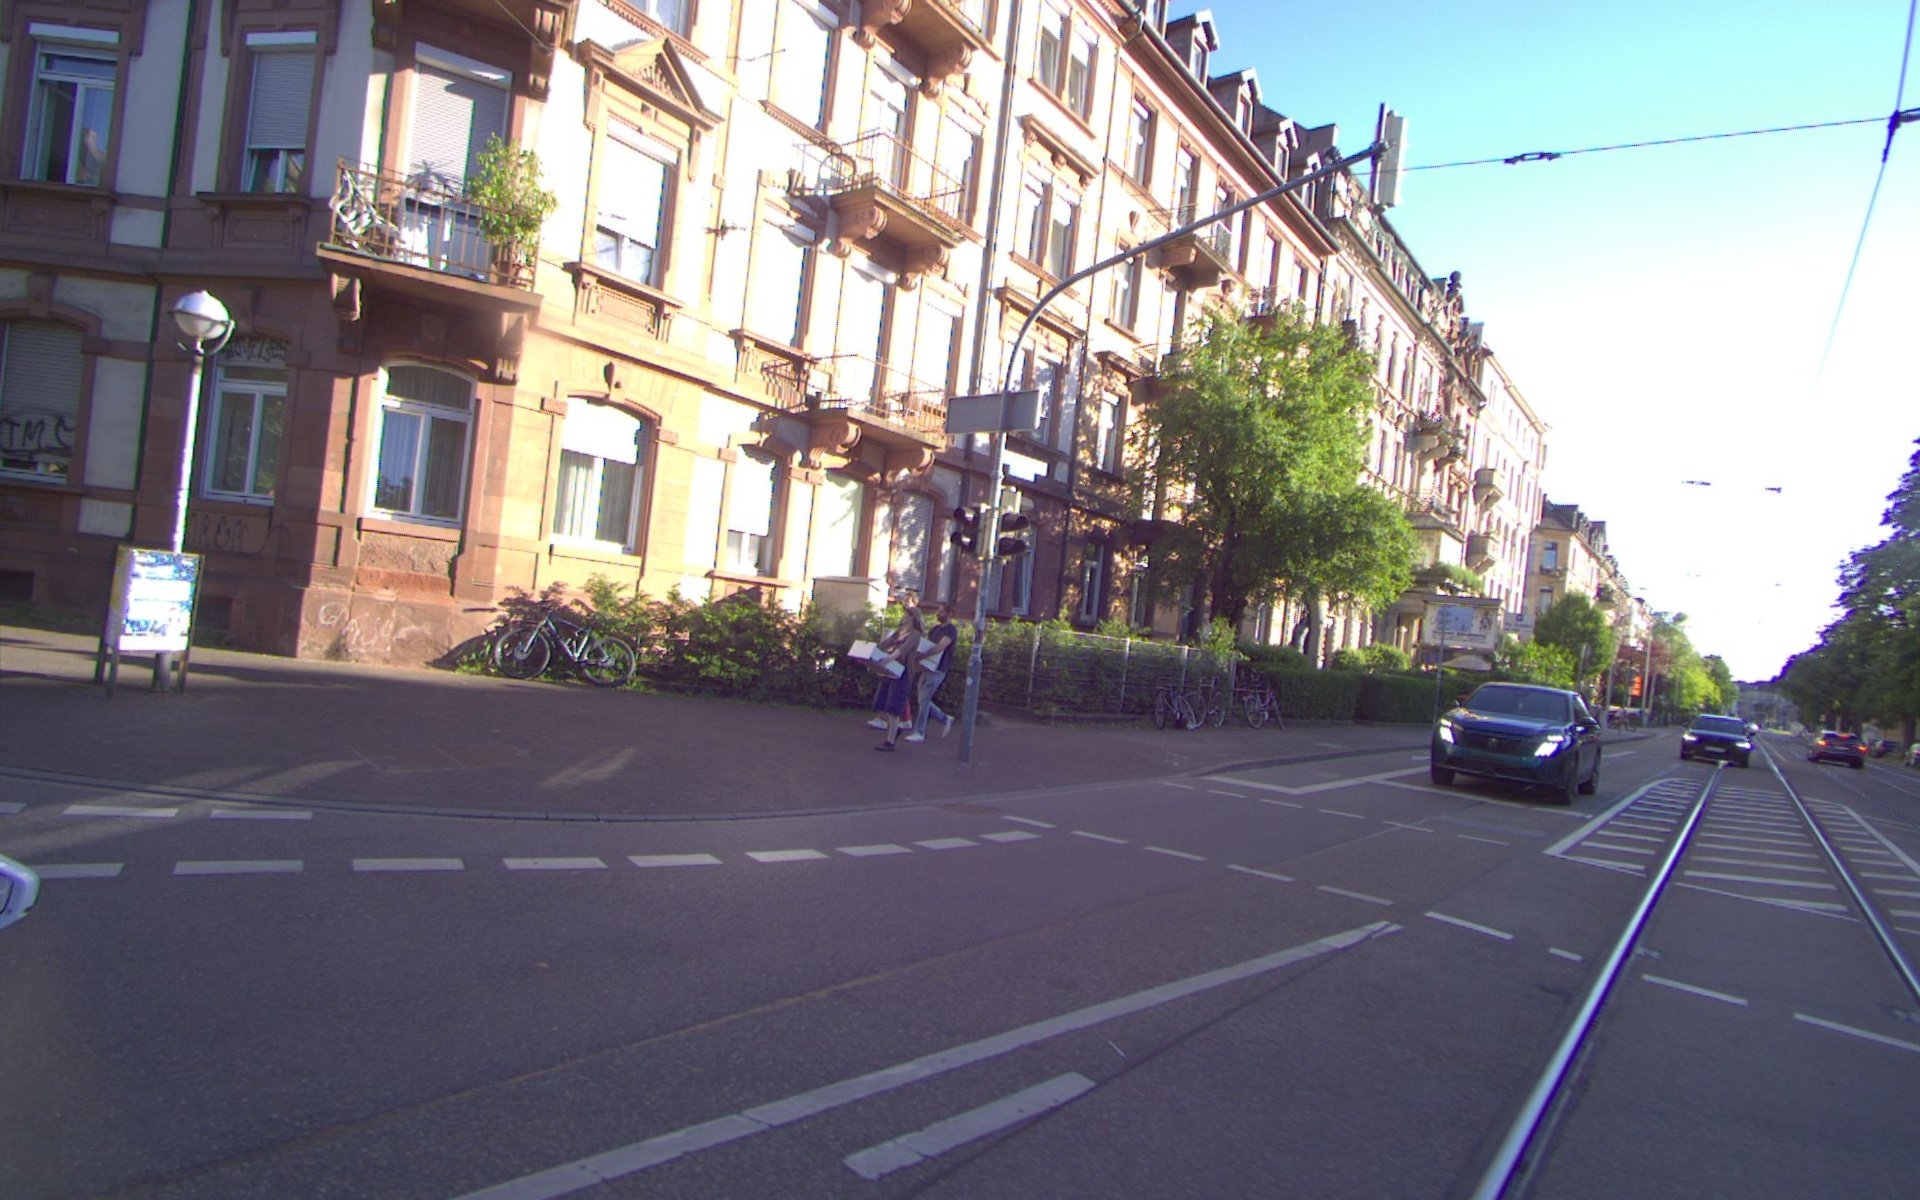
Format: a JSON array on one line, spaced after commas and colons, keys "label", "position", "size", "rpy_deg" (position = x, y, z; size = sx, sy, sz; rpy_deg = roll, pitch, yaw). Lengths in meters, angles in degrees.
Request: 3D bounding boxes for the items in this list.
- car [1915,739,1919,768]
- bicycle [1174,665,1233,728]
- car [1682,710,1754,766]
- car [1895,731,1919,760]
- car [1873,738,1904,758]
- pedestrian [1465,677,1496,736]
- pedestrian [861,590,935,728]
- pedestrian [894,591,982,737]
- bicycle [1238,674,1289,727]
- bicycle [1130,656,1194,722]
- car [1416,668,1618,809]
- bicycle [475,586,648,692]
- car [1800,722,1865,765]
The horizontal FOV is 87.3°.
[{"label": "car", "position": [52.070, 8.302, 53.203], "size": [1.575, 1.556, 3.881], "rpy_deg": [5, -2, 35]}, {"label": "bicycle", "position": [4.669, 1.858, 19.261], "size": [0.437, 1.121, 1.226], "rpy_deg": [6, 0, 44]}, {"label": "car", "position": [25.427, 4.588, 33.830], "size": [1.512, 1.543, 3.469], "rpy_deg": [5, -2, 33]}, {"label": "car", "position": [58.172, 8.863, 60.956], "size": [1.575, 1.556, 3.881], "rpy_deg": [5, -2, 35]}, {"label": "car", "position": [70.745, 11.255, 76.674], "size": [1.423, 1.263, 3.302], "rpy_deg": [5, -2, 39]}, {"label": "pedestrian", "position": [15.449, 3.161, 29.862], "size": [0.491, 1.661, 0.520], "rpy_deg": [6, 0, -40]}, {"label": "pedestrian", "position": [-0.816, 0.773, 13.246], "size": [0.631, 1.736, 0.516], "rpy_deg": [6, 0, -38]}, {"label": "pedestrian", "position": [-0.284, 0.811, 12.766], "size": [0.631, 1.737, 0.656], "rpy_deg": [6, 3, -38]}, {"label": "bicycle", "position": [6.401, 2.120, 21.176], "size": [0.437, 1.051, 1.227], "rpy_deg": [6, 0, 43]}, {"label": "bicycle", "position": [3.683, 1.619, 18.263], "size": [0.437, 1.121, 1.226], "rpy_deg": [6, 0, 44]}, {"label": "car", "position": [8.765, 2.068, 15.638], "size": [1.920, 1.669, 4.393], "rpy_deg": [5, -2, 39]}, {"label": "bicycle", "position": [-5.107, 0.508, 13.001], "size": [1.938, 1.120, 0.441], "rpy_deg": [8, -1, -18]}, {"label": "car", "position": [40.795, 6.693, 47.124], "size": [1.948, 1.604, 4.458], "rpy_deg": [5, -2, 38]}]
